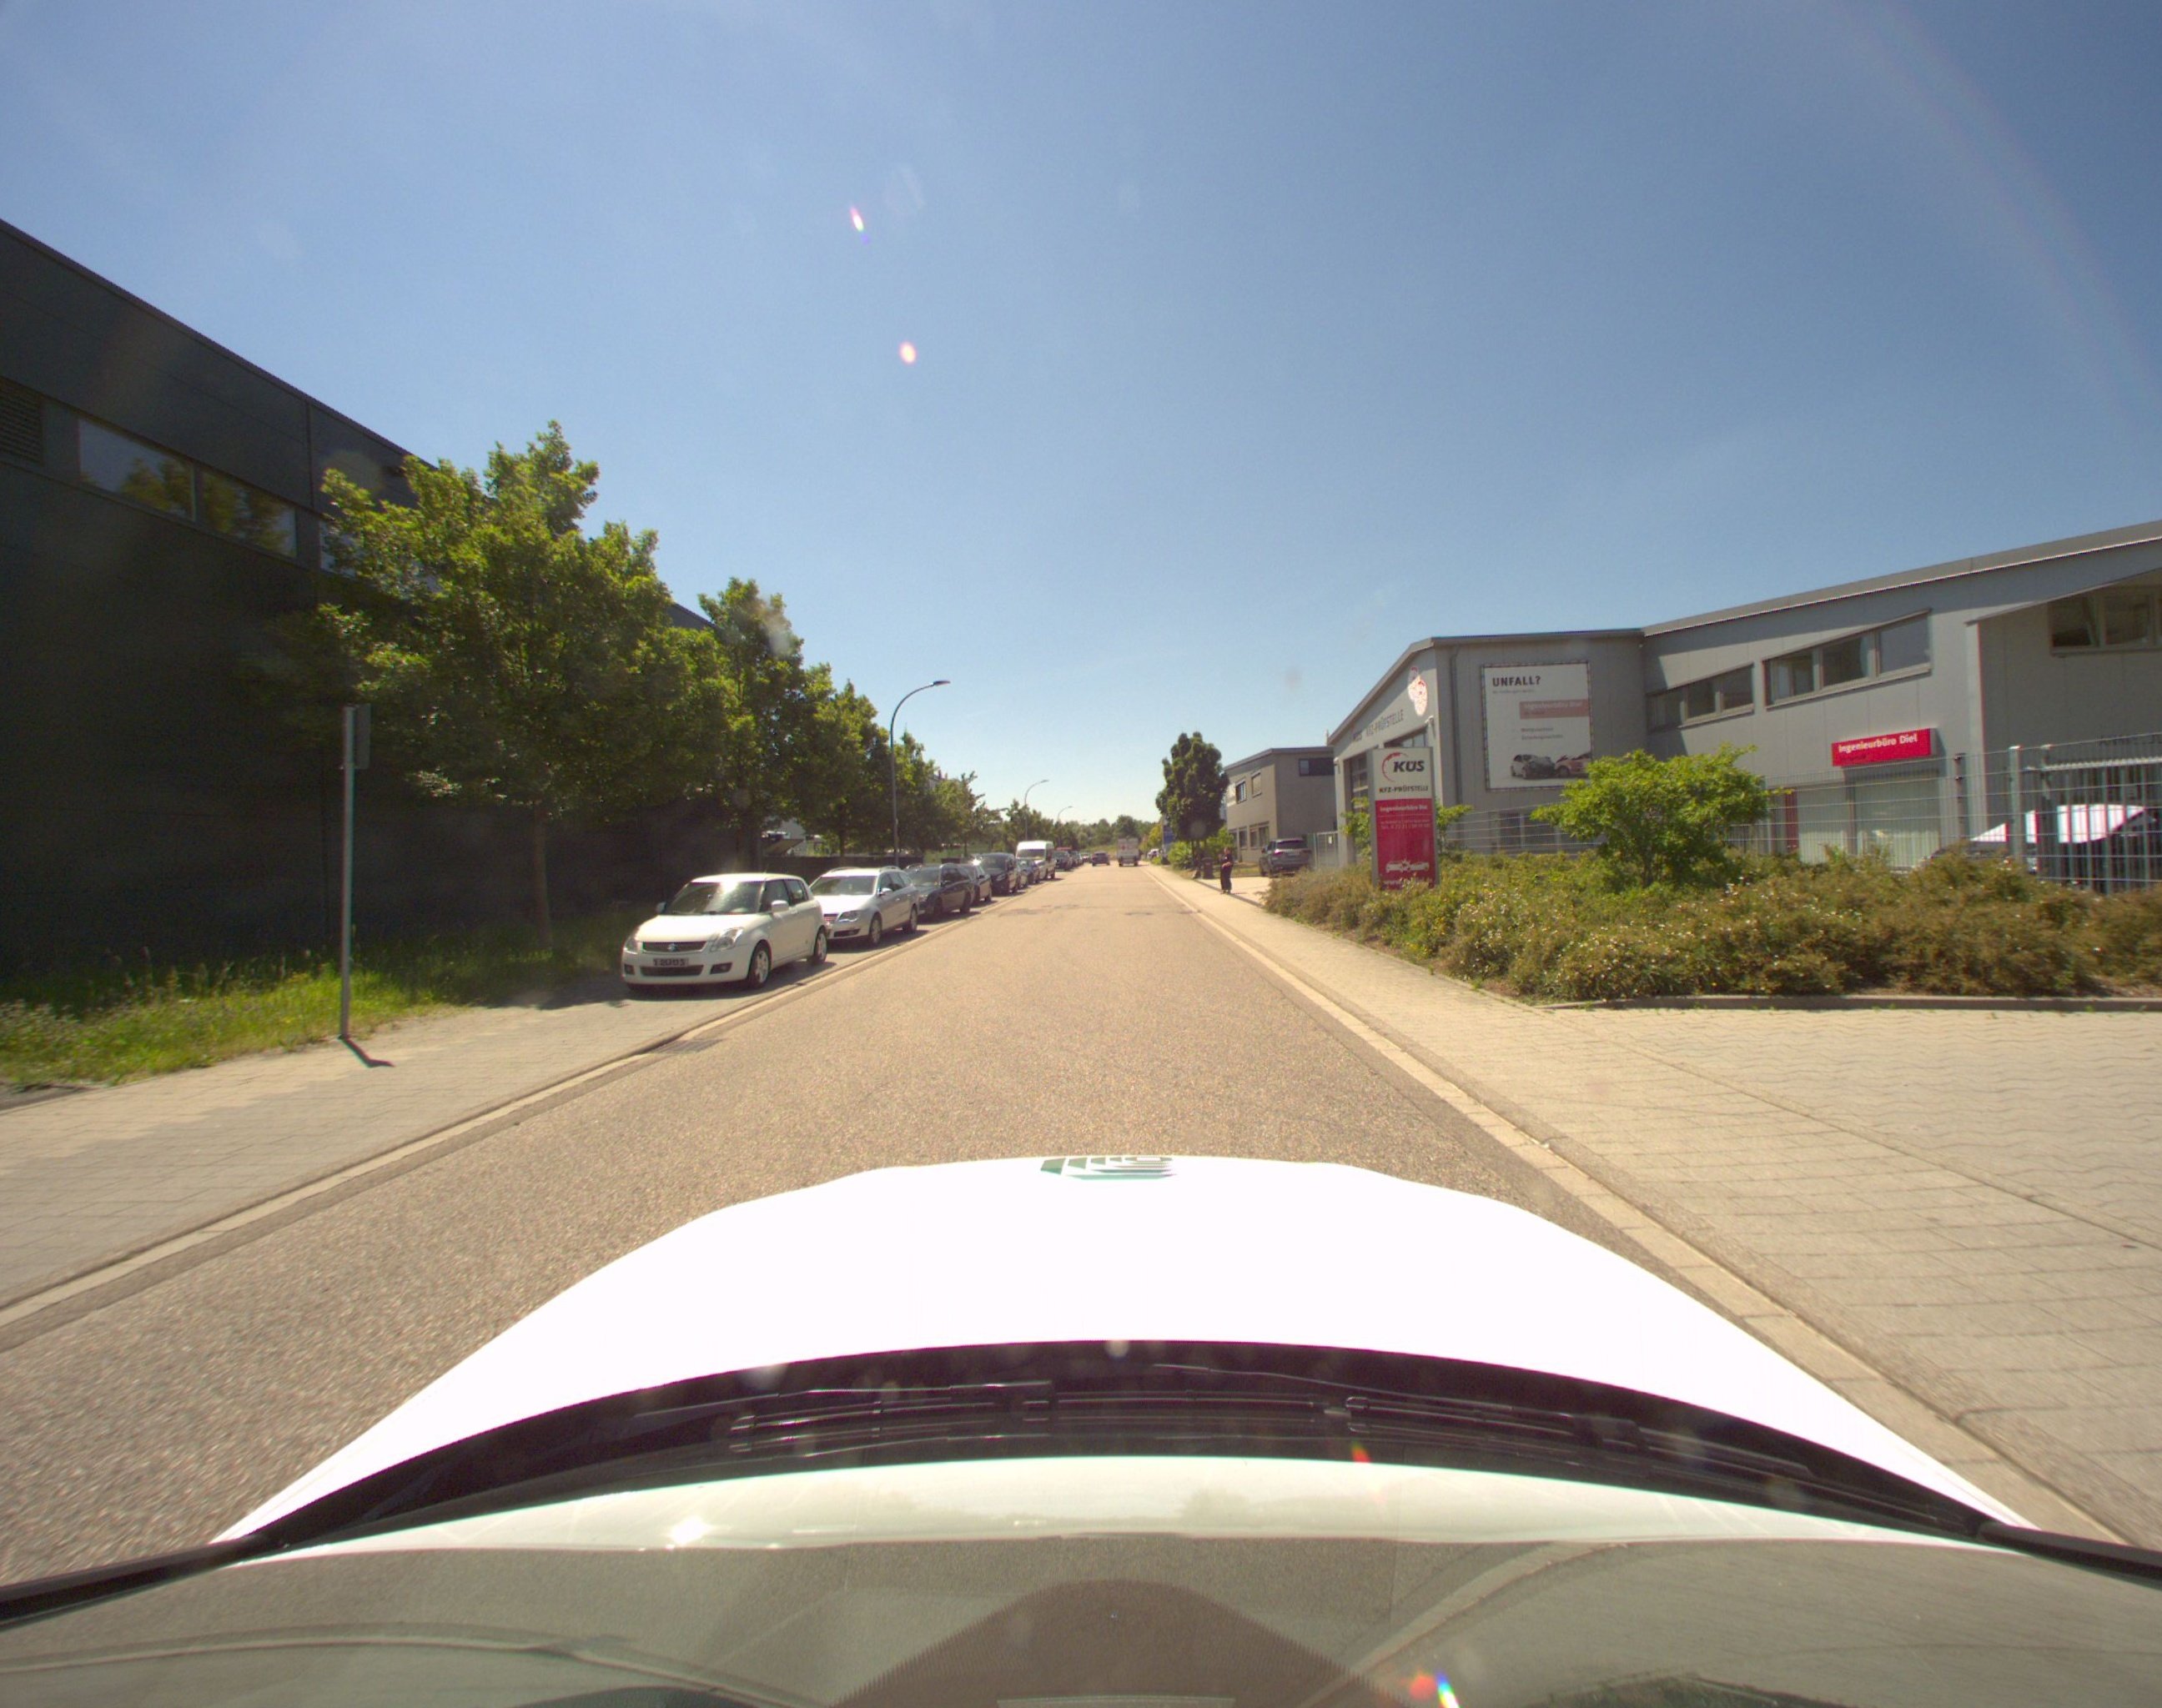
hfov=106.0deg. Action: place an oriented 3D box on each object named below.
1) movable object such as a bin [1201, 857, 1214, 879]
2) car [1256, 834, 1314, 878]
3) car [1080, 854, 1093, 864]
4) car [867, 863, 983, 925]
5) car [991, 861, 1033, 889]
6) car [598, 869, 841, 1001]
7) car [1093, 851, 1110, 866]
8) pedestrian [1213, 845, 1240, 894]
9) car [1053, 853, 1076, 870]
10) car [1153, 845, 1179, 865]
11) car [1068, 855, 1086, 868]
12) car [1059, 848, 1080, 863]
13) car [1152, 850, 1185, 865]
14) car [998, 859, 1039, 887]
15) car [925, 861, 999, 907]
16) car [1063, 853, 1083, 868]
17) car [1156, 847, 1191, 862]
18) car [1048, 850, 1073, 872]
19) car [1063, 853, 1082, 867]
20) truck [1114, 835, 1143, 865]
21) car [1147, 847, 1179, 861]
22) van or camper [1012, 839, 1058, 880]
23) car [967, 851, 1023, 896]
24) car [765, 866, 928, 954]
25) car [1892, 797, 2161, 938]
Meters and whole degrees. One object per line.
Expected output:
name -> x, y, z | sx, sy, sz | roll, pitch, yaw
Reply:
movable object such as a bin -> 6.310, 0.699, 40.537 | 0.529, 1.052, 0.846 | -3, -1, 4
car -> 9.373, 0.113, 37.762 | 1.777, 1.783, 4.911 | -3, -1, 5
car -> 0.914, 0.860, 130.344 | 1.791, 1.487, 4.257 | -2, 0, 4
car -> -4.248, 1.052, 22.998 | 1.789, 1.476, 4.647 | -2, 0, 8
car -> -3.453, 1.032, 41.147 | 1.471, 1.297, 3.904 | -2, 0, 4
car -> -4.918, 1.011, 11.731 | 1.715, 1.476, 3.857 | -2, 0, 0
car -> 2.280, 0.520, 90.660 | 1.782, 1.623, 3.811 | 0, 0, 2
pedestrian -> 5.015, 0.544, 28.101 | 0.500, 1.613, 0.710 | -6, -1, -14
car -> -1.603, 0.730, 80.227 | 1.791, 1.487, 4.257 | -2, 0, 4
car -> 8.074, 0.119, 77.295 | 1.987, 1.803, 4.139 | -3, 0, 0
car -> -0.458, 0.867, 101.394 | 1.791, 1.487, 4.257 | -2, 0, 4
car -> -1.211, 0.167, 85.548 | 1.791, 1.487, 4.257 | -2, 0, 4
car -> 10.607, 0.393, 98.792 | 3.863, 1.750, 1.751 | 0, 0, 0
car -> -3.459, 1.010, 45.940 | 1.792, 1.449, 4.254 | -2, 0, 2
car -> -4.207, 1.020, 29.488 | 1.792, 1.476, 4.590 | -2, 0, 2
car -> -0.862, 0.677, 90.370 | 1.791, 1.487, 4.257 | -2, 0, 4
car -> 10.961, 0.019, 96.626 | 3.863, 1.750, 1.751 | 0, 0, 0
car -> -1.788, 0.561, 72.609 | 1.791, 1.848, 4.257 | -2, 0, 4
car -> -0.997, 0.649, 95.444 | 1.791, 1.487, 4.257 | -2, 0, 4
truck -> 4.866, -0.367, 83.776 | 2.921, 2.974, 6.424 | 0, 0, 3
car -> 10.254, 0.041, 101.639 | 3.863, 1.750, 1.751 | 0, 0, 0
van or camper -> -2.891, 0.364, 52.662 | 2.069, 2.483, 6.139 | 0, 0, 5
car -> -3.673, 0.811, 35.465 | 1.792, 1.814, 4.254 | -2, 0, 2
car -> -4.624, 1.030, 16.822 | 1.791, 1.476, 4.558 | -2, 0, 3
car -> 13.498, 0.129, 10.864 | 3.598, 1.677, 1.703 | -2, 0, 1
